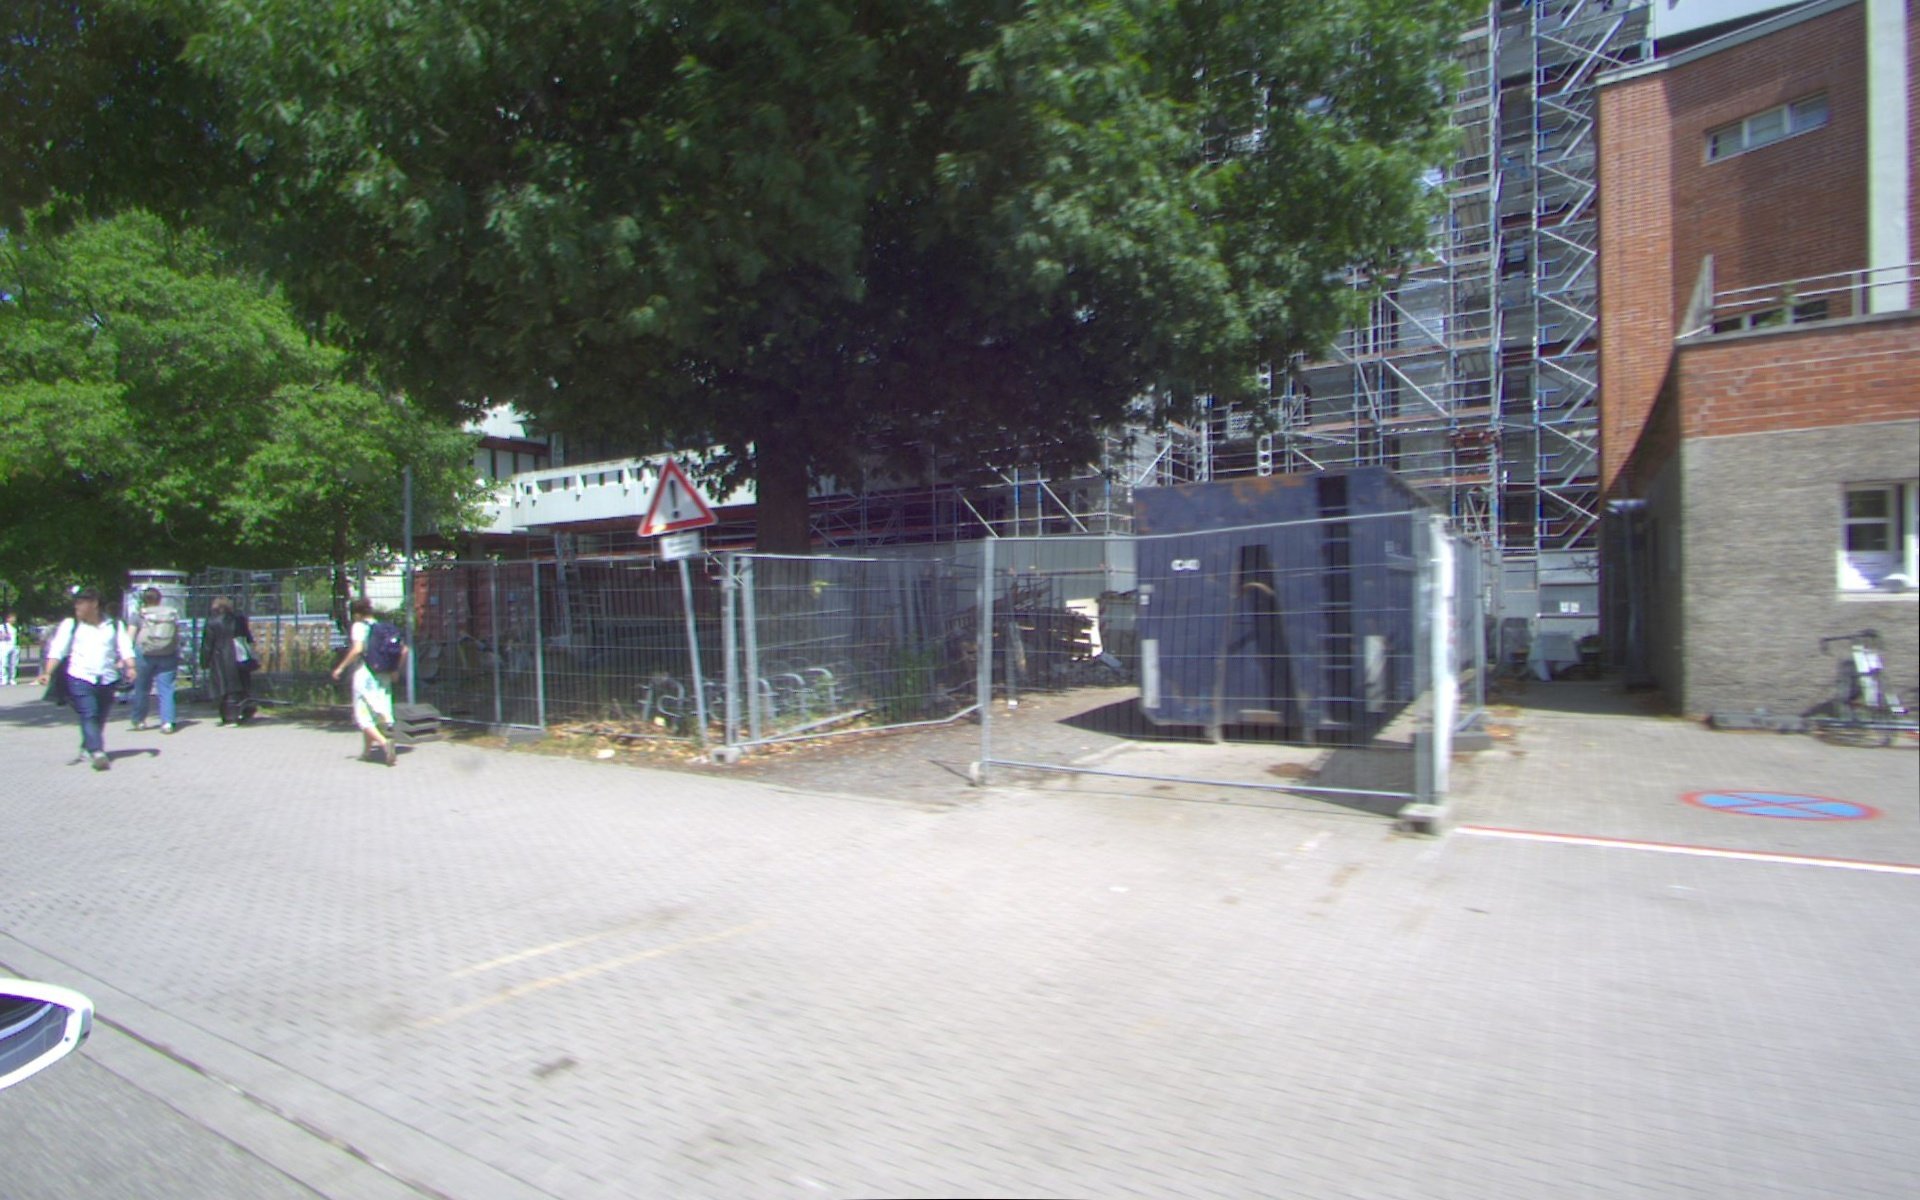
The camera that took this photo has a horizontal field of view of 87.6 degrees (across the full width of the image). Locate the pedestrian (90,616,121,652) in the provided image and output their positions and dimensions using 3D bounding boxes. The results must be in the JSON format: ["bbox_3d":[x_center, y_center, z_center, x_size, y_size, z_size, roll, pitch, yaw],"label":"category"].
[{"bbox_3d":[-46.627,1.864,54.660,0.813,1.779,0.834,-18,10,-35],"label":"pedestrian"}]

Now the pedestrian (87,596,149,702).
[{"bbox_3d":[-13.491,0.768,16.047,0.707,1.653,0.705,-1,0,-42],"label":"pedestrian"}]

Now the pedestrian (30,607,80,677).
[{"bbox_3d":[-22.904,1.050,25.343,0.553,1.732,0.745,-1,0,-4],"label":"pedestrian"}]

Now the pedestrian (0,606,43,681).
[{"bbox_3d":[-23.899,1.093,25.379,0.618,1.846,0.723,-1,0,-4],"label":"pedestrian"}]

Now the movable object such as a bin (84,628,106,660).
[{"bbox_3d":[-29.682,1.512,34.362,0.499,1.086,0.487,-1,0,39],"label":"movable object such as a bin"}]

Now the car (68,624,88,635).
[{"bbox_3d":[-110.423,3.707,125.433,1.602,1.383,4.527,-1,0,-38],"label":"car"}]

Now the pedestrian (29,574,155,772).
[{"bbox_3d":[-8.321,0.670,9.608,0.776,1.805,0.693,-1,1,34],"label":"pedestrian"}]

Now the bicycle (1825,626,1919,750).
[{"bbox_3d":[8.539,0.775,9.346,0.441,1.016,1.668,0,0,32],"label":"bicycle"}]

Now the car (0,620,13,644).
[{"bbox_3d":[-76.078,2.538,78.899,1.601,1.839,3.971,-1,0,-37],"label":"car"}]

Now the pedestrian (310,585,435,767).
[{"bbox_3d":[-5.731,0.708,9.779,0.890,1.688,0.648,-1,1,28],"label":"pedestrian"}]

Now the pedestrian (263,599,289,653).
[{"bbox_3d":[-24.048,0.909,35.207,0.752,1.861,0.541,-1,1,39],"label":"pedestrian"}]

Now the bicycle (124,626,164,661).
[{"bbox_3d":[-26.990,1.433,33.123,1.848,1.133,0.616,-1,0,38],"label":"bicycle"}]

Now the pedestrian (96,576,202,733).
[{"bbox_3d":[-9.695,0.623,11.980,0.708,1.787,0.845,0,1,42],"label":"pedestrian"}]

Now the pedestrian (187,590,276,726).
[{"bbox_3d":[-9.165,0.702,12.597,0.974,1.621,0.665,-1,1,41],"label":"pedestrian"}]
